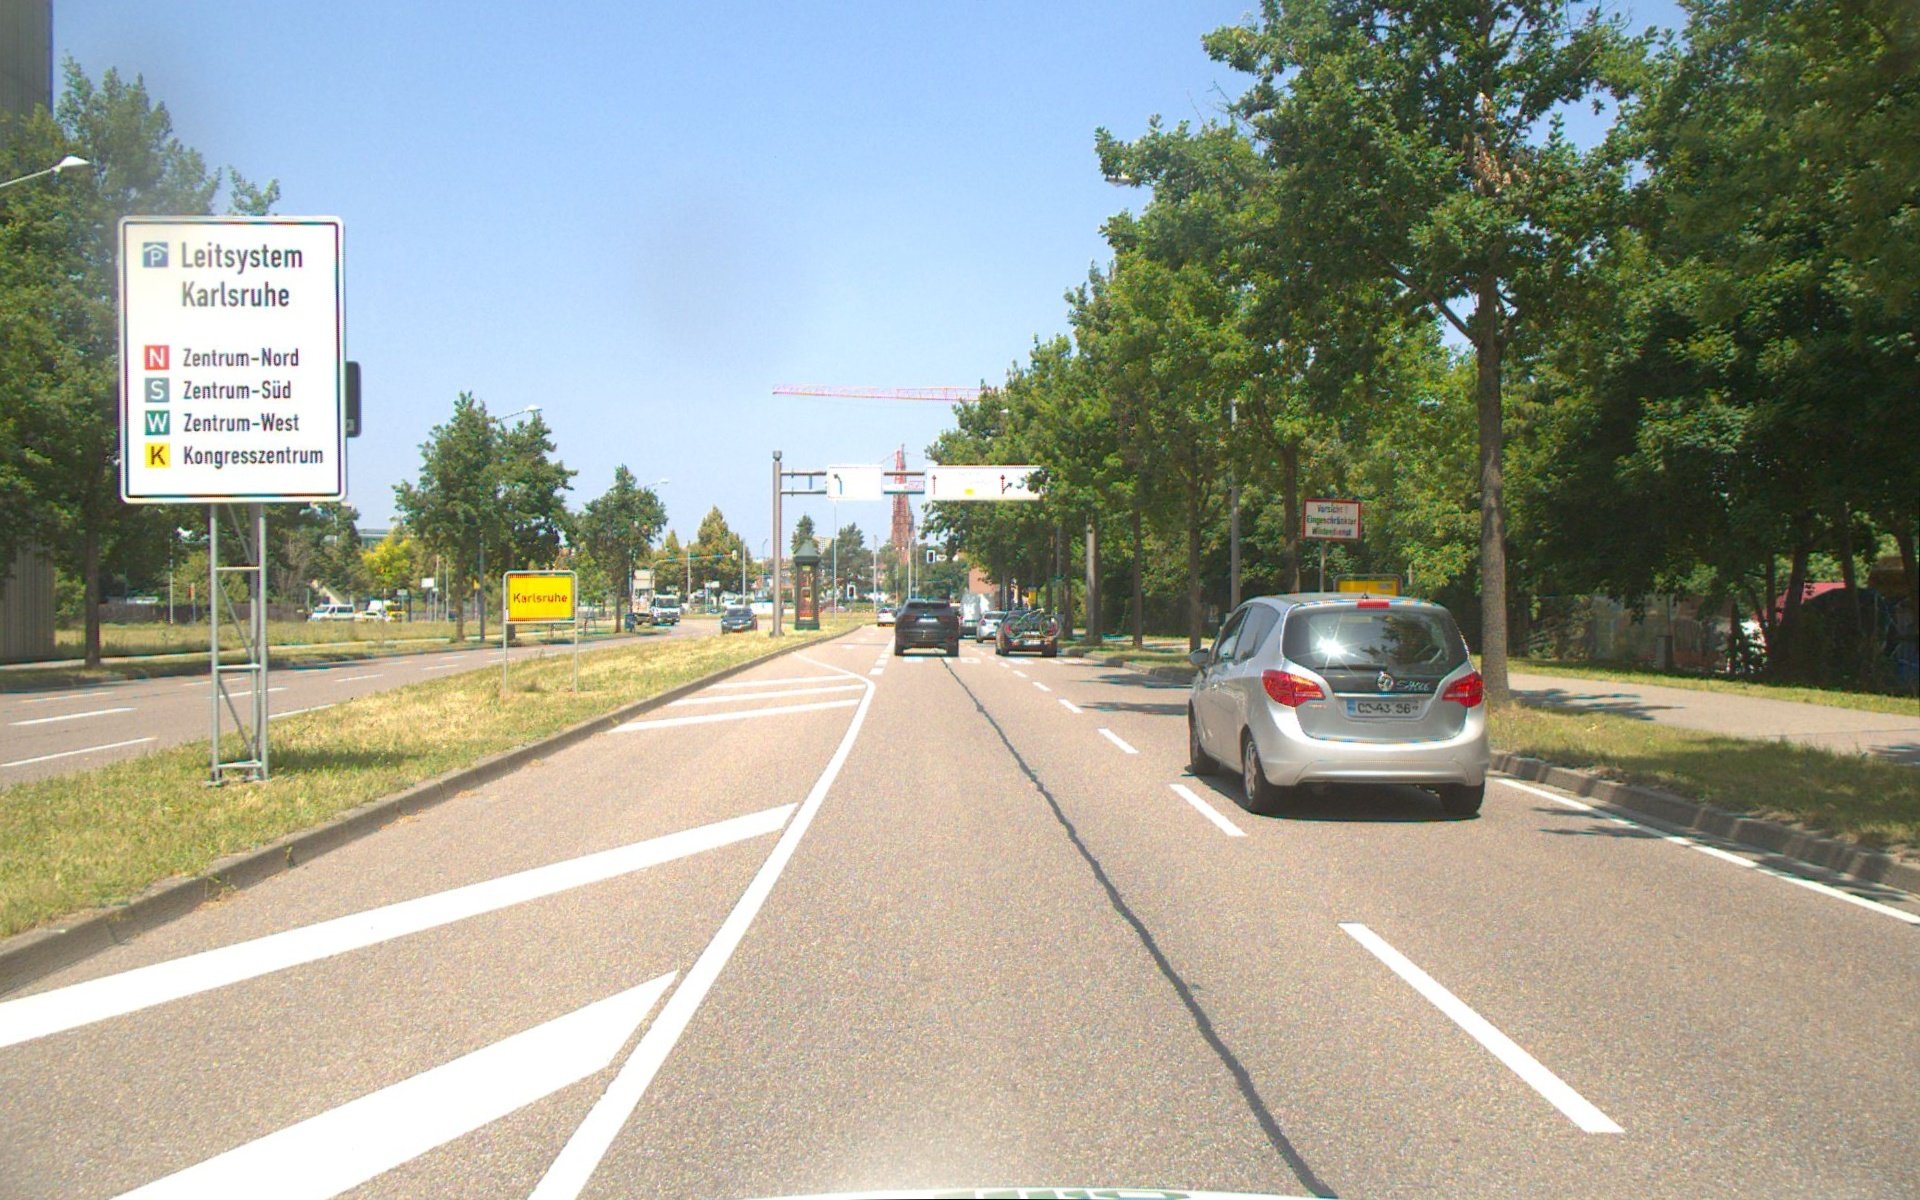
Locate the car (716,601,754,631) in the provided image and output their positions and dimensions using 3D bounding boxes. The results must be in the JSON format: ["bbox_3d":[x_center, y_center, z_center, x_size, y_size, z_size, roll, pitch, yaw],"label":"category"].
[{"bbox_3d":[-13.345,0.932,98.148,1.855,1.638,4.531,-3,1,-4],"label":"car"}]

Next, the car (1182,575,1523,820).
[{"bbox_3d":[2.937,0.659,13.218,1.756,1.640,3.890,1,0,-1],"label":"car"}]

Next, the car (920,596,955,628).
[{"bbox_3d":[-1.504,0.768,108.879,1.955,2.049,3.994,0,0,-7],"label":"car"}]

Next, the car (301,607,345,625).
[{"bbox_3d":[-70.899,1.798,184.173,1.955,1.911,4.283,-1,0,29],"label":"car"}]

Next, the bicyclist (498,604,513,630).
[{"bbox_3d":[-26.071,0.972,94.819,0.610,1.515,0.757,0,-1,1],"label":"bicyclist"}]

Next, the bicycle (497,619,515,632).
[{"bbox_3d":[-26.069,1.473,95.018,0.471,0.728,1.850,0,0,1],"label":"bicycle"}]

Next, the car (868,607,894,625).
[{"bbox_3d":[-6.423,1.303,134.066,1.955,1.344,3.995,0,0,-6],"label":"car"}]

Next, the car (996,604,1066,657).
[{"bbox_3d":[2.152,0.905,51.300,1.973,1.544,4.460,0,0,0],"label":"car"}]

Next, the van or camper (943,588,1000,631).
[{"bbox_3d":[0.609,0.539,93.180,2.448,2.331,4.909,0,0,-10],"label":"van or camper"}]

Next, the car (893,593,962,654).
[{"bbox_3d":[-0.938,0.652,49.318,1.957,1.719,4.033,1,0,-1],"label":"car"}]

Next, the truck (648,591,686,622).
[{"bbox_3d":[-25.651,0.539,144.809,2.586,2.621,6.313,0,0,-4],"label":"truck"}]

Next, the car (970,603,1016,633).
[{"bbox_3d":[1.536,0.830,78.434,1.623,1.380,4.454,0,0,-6],"label":"car"}]
